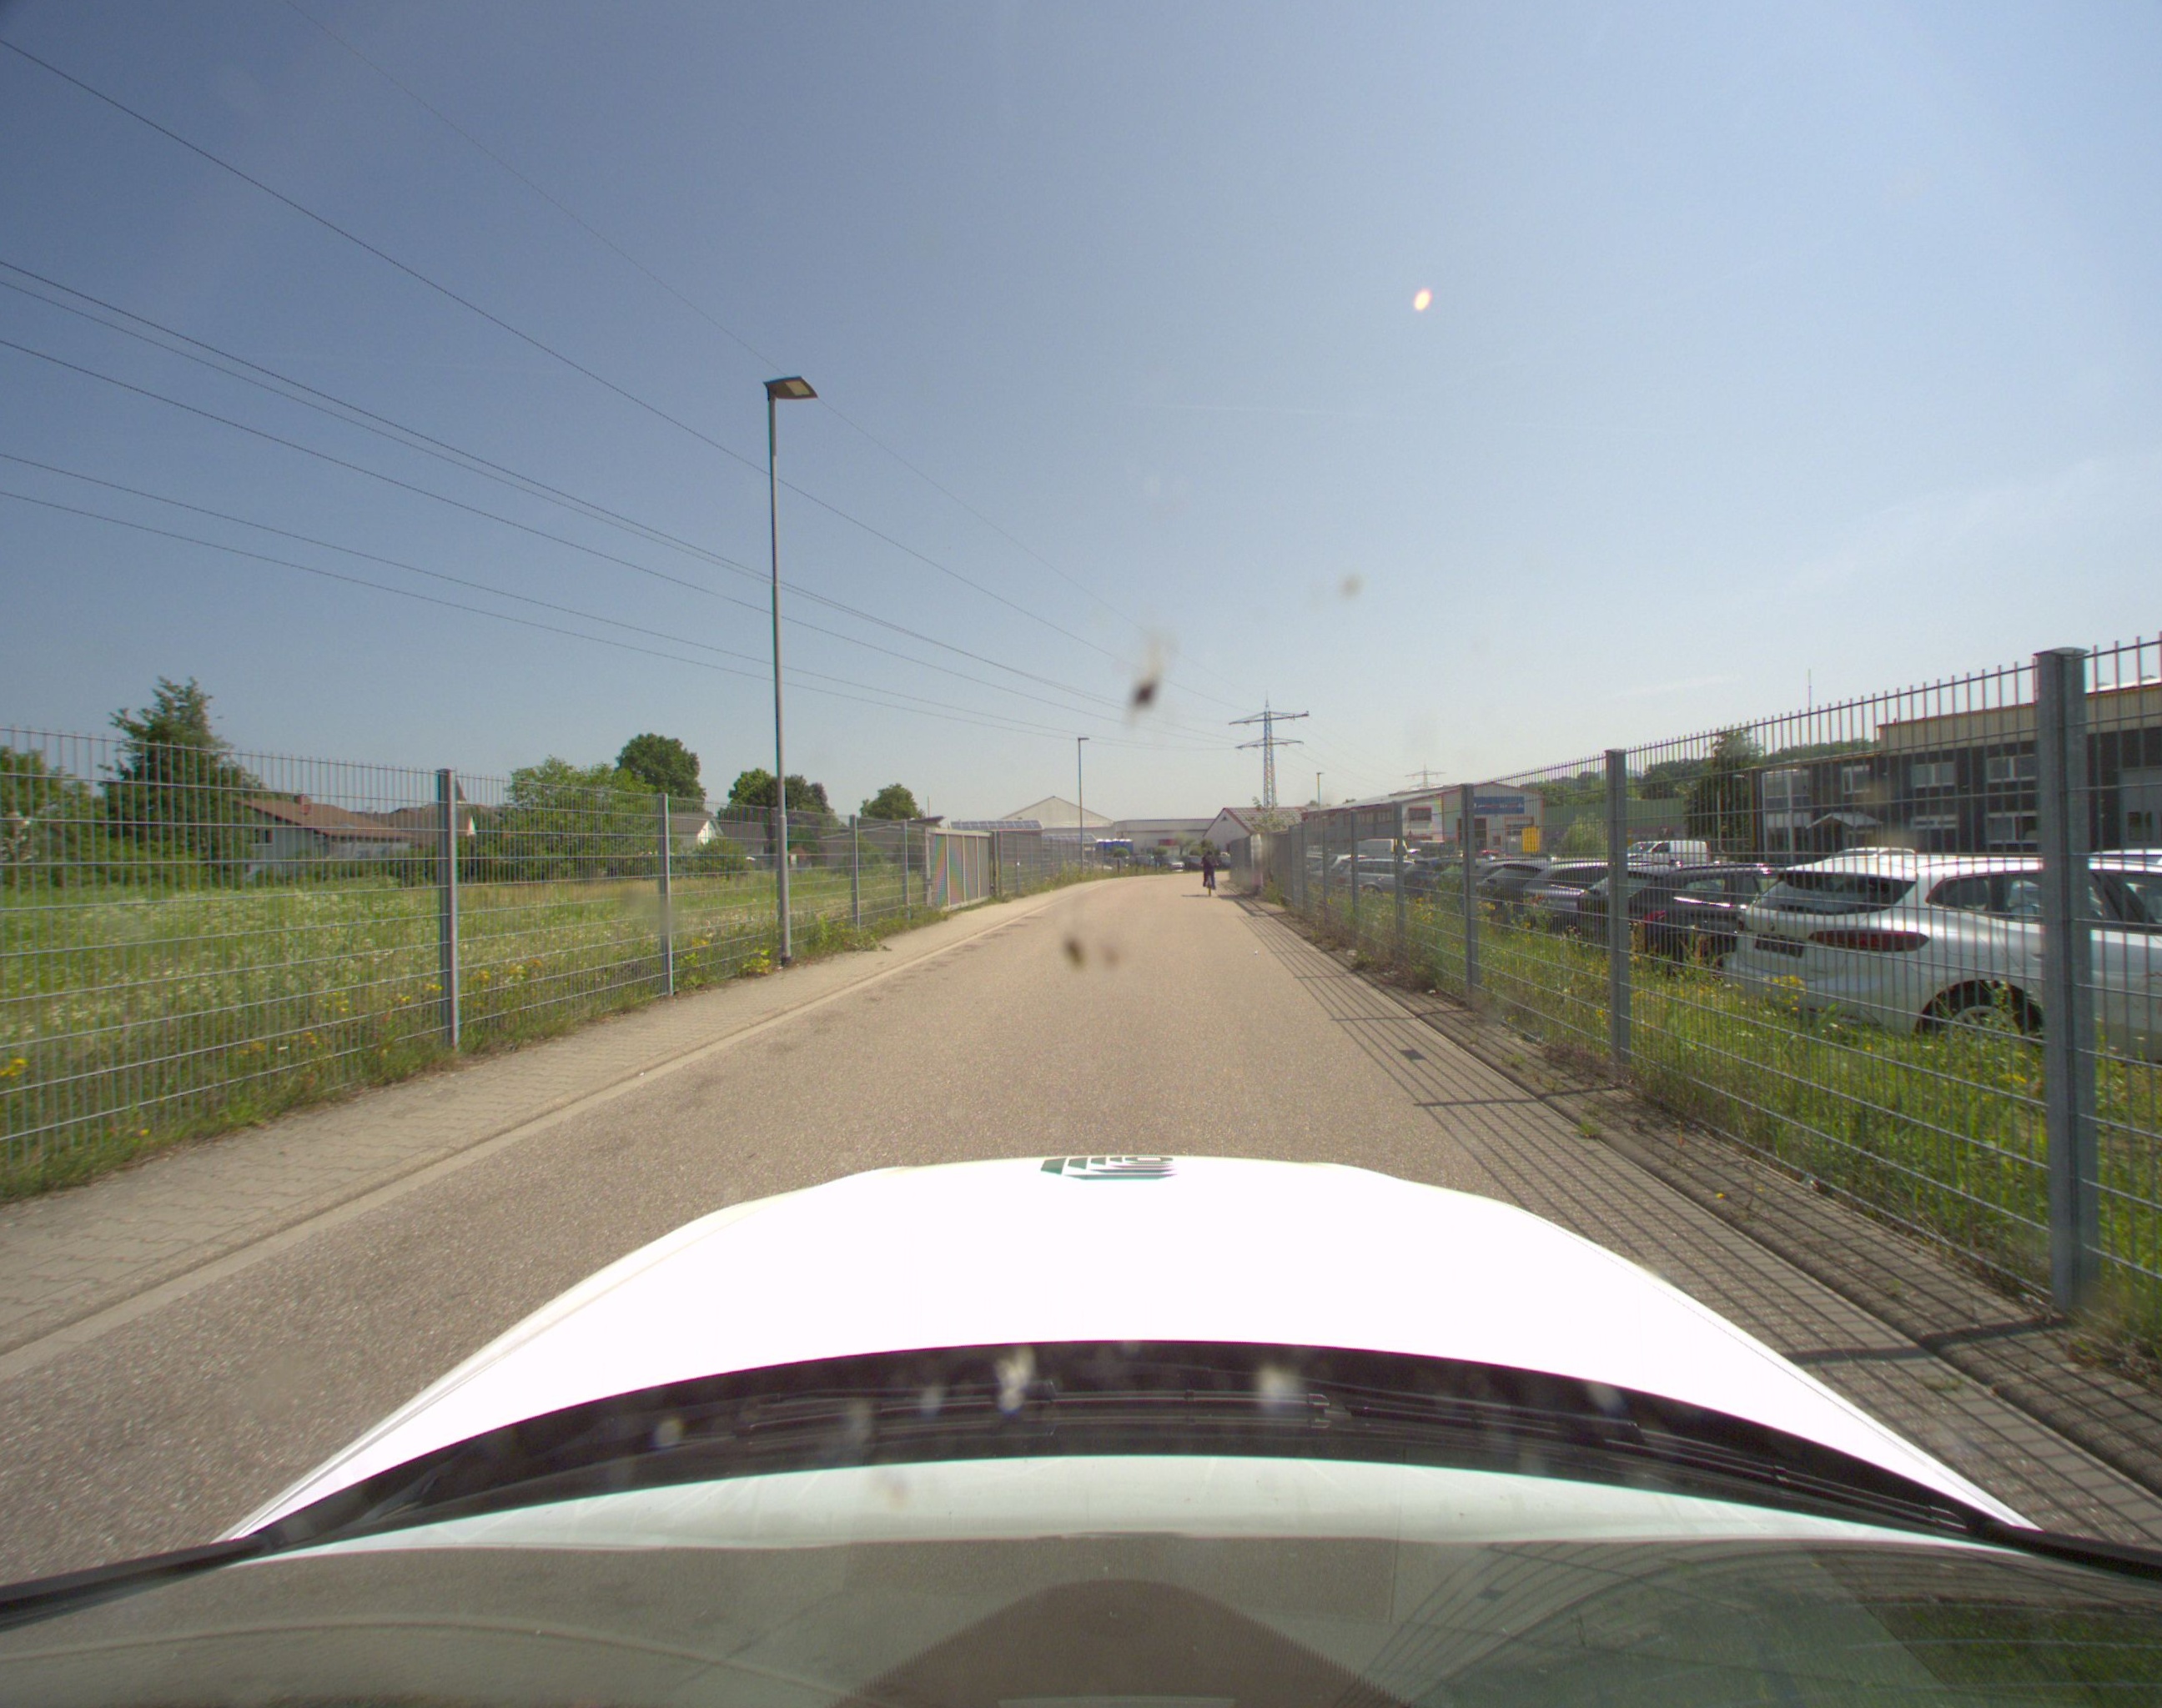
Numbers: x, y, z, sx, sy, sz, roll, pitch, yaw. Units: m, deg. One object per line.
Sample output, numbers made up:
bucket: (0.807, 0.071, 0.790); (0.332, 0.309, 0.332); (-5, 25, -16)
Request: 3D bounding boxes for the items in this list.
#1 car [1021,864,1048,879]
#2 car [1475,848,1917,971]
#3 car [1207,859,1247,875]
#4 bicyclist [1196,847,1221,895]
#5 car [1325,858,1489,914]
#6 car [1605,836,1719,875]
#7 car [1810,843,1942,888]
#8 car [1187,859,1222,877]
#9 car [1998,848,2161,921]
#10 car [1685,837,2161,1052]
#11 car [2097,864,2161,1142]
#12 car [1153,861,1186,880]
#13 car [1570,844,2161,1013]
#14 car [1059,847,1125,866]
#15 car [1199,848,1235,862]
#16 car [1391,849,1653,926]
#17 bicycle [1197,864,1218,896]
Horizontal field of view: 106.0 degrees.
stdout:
car: (-4.277, 1.596, 74.650); (1.865, 1.298, 3.423); (-1, 0, -15)
car: (7.983, 0.677, 10.941); (4.489, 1.406, 1.840); (1, 0, 3)
car: (13.368, 1.171, 74.887); (1.997, 1.435, 4.645); (-1, 0, -13)
bicyclist: (4.464, 0.589, 28.541); (0.837, 1.618, 1.042); (0, 1, 10)
car: (9.474, 0.917, 23.903); (4.146, 1.474, 1.639); (1, 0, 2)
car: (30.904, 0.089, 43.386); (5.057, 1.899, 1.852); (-1, 0, -9)
car: (27.615, 0.384, 28.314); (3.658, 1.436, 1.529); (-1, 0, -12)
car: (11.087, 1.270, 73.156); (1.864, 1.554, 3.754); (-1, 0, -13)
car: (21.958, 0.582, 16.956); (4.507, 1.351, 1.622); (-1, 0, -9)
car: (7.561, 0.633, 6.371); (4.184, 1.406, 1.844); (1, 0, 10)
car: (7.532, 0.802, 3.366); (4.191, 1.406, 1.840); (1, 0, 4)
car: (7.887, 1.431, 73.031); (1.864, 1.644, 3.618); (-1, 0, -13)
car: (7.742, 0.660, 8.459); (4.184, 1.406, 1.844); (1, 0, 10)
car: (0.770, 0.166, 59.982); (4.551, 1.307, 1.861); (-1, 0, -13)
car: (16.804, 0.134, 100.730); (3.989, 1.598, 1.870); (-1, 0, -11)
car: (9.053, 0.659, 17.060); (4.484, 1.406, 1.771); (1, 0, 8)
bicycle: (4.459, 0.884, 28.581); (0.681, 1.051, 1.906); (0, 0, 10)
